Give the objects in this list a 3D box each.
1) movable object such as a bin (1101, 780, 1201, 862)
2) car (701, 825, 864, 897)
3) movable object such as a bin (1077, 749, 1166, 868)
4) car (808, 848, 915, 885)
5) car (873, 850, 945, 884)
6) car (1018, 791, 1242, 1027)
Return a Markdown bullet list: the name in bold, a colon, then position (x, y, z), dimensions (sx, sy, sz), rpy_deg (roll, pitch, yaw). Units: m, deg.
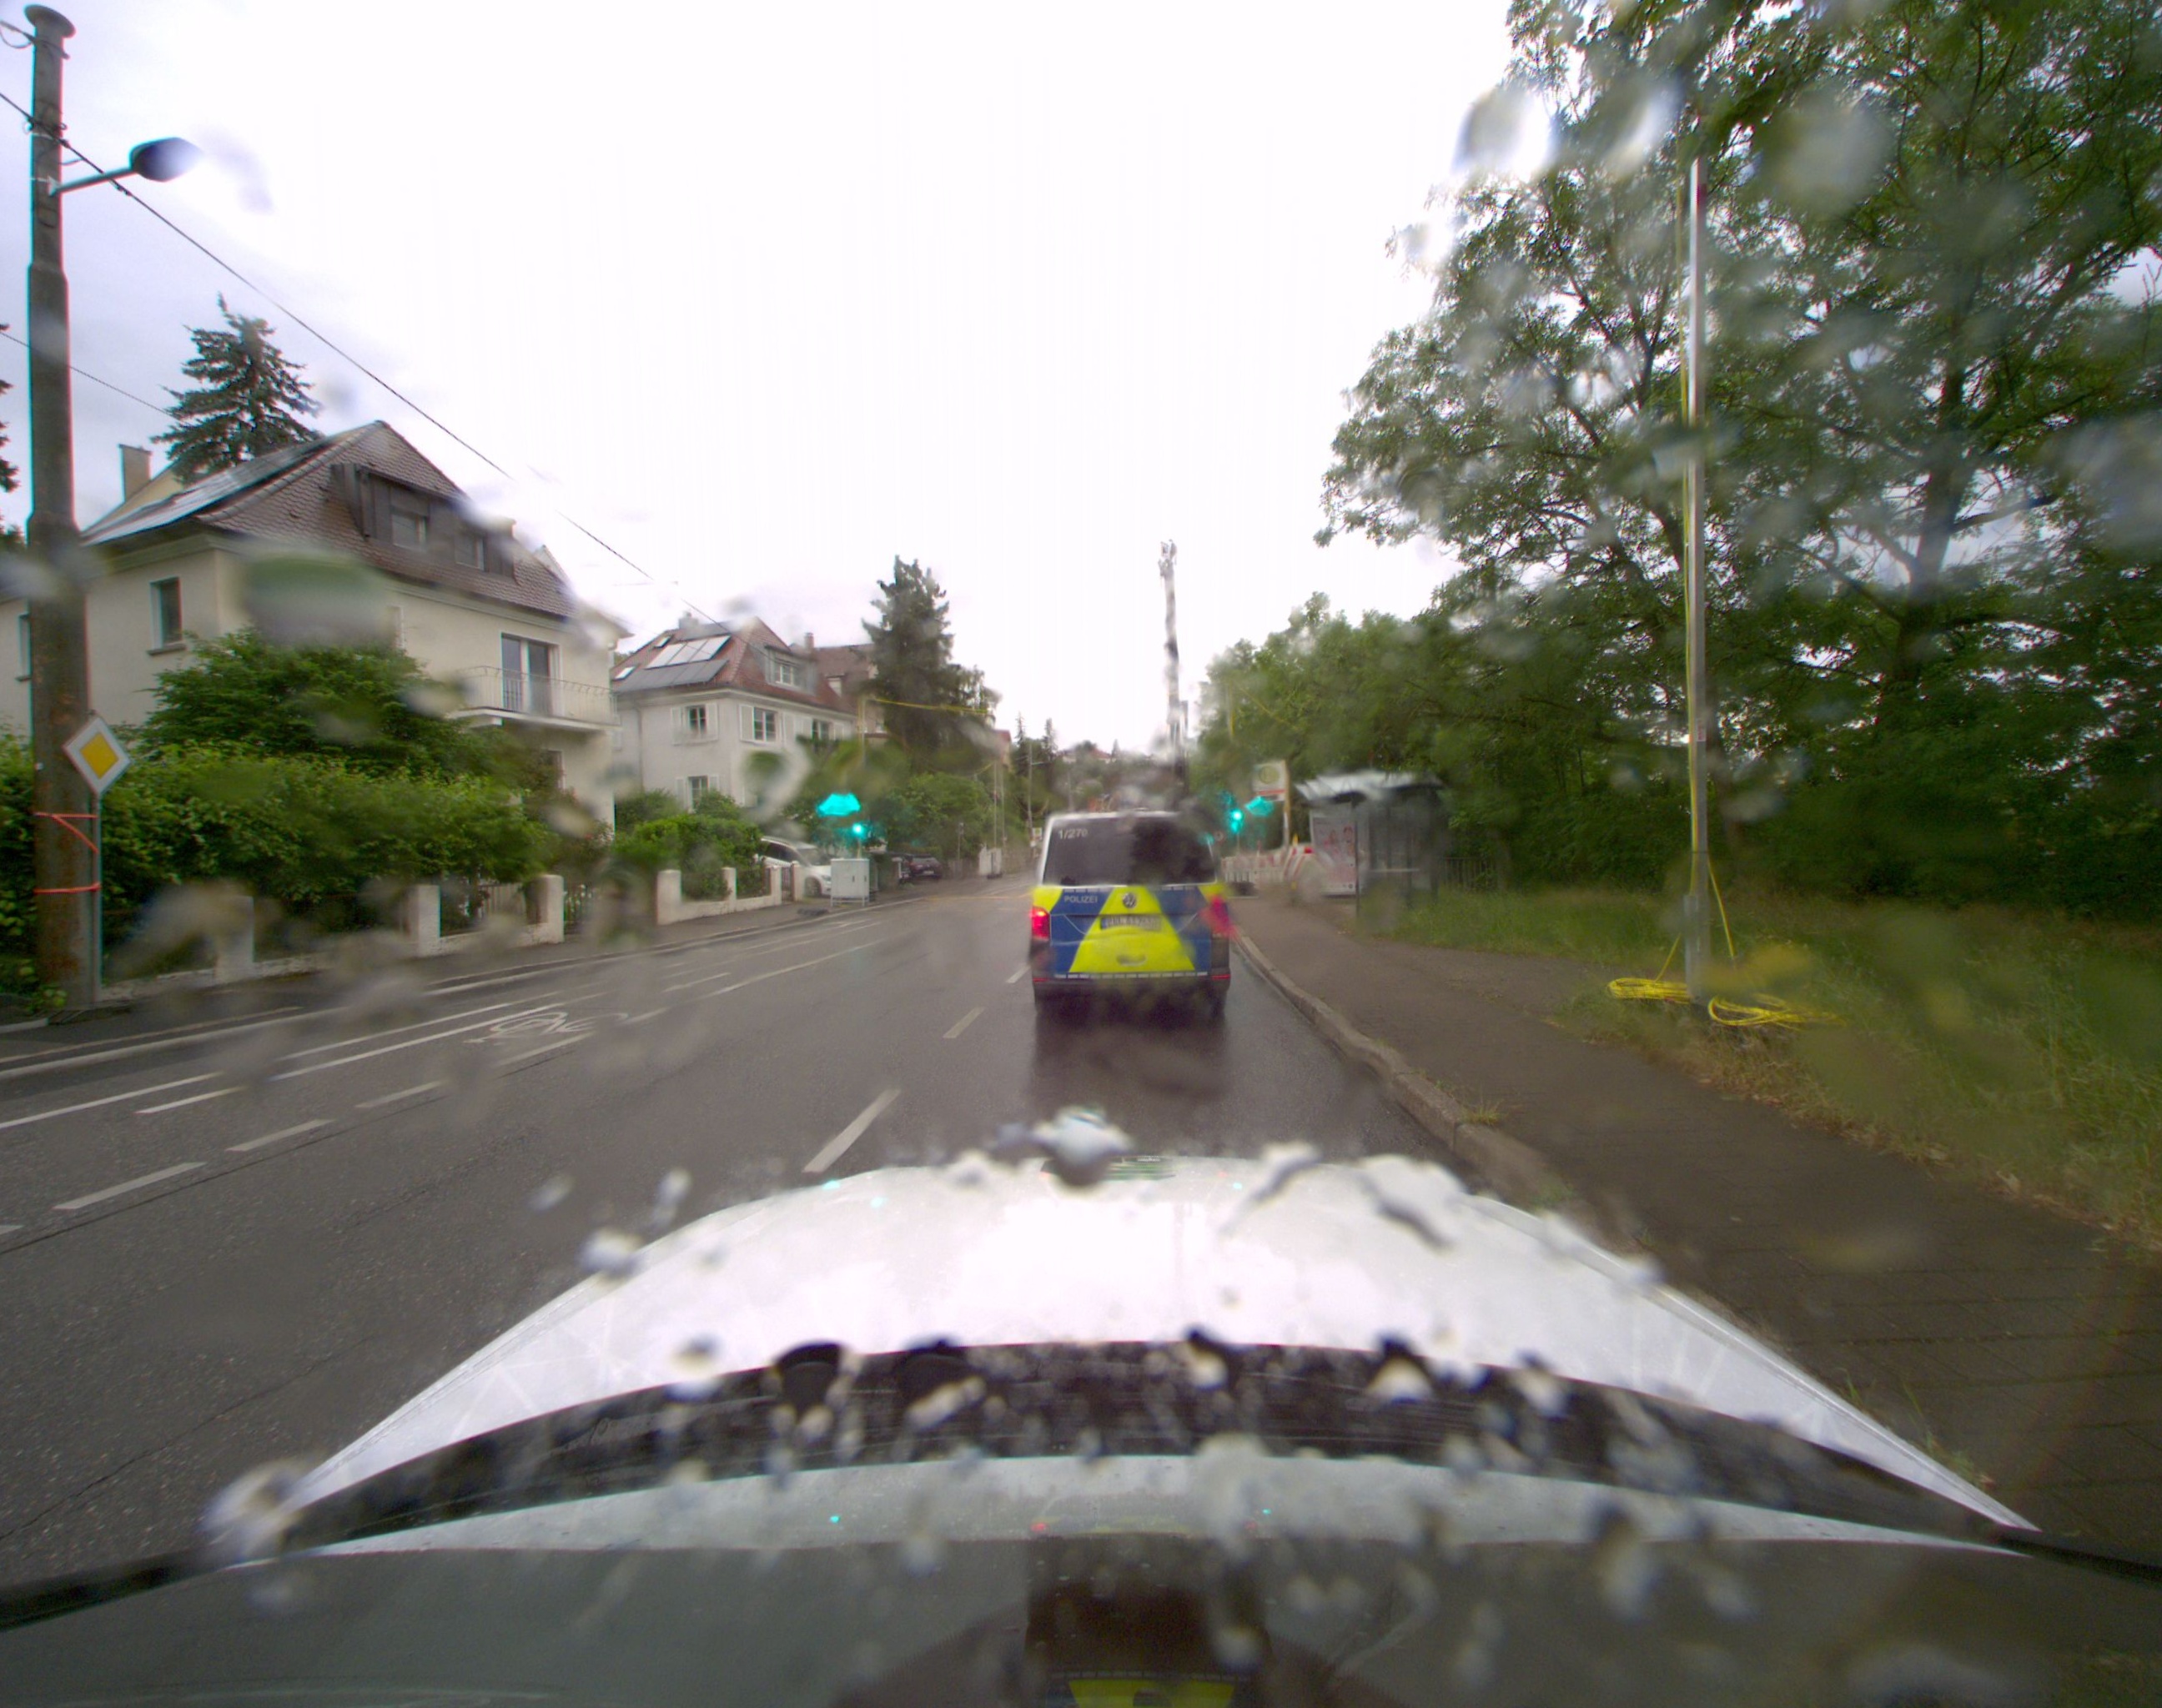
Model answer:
- **movable object such as a bin**: position (4.920, -2.144, 55.910), dimensions (3.646, 5.066, 7.209), rpy_deg (-3, -1, 34)
- **car**: position (-10.220, 0.191, 27.948), dimensions (4.927, 1.616, 1.872), rpy_deg (9, 4, 15)
- **movable object such as a bin**: position (1.691, -1.688, 31.811), dimensions (2.862, 4.170, 4.499), rpy_deg (-2, 1, 9)
- **car**: position (-9.440, 0.547, 35.125), dimensions (3.958, 1.525, 1.948), rpy_deg (-1, -1, 15)
- **car**: position (-8.095, 0.580, 38.007), dimensions (1.795, 1.525, 3.955), rpy_deg (0, 0, -37)
- **car**: position (0.487, 0.488, 9.184), dimensions (1.901, 2.010, 4.441), rpy_deg (0, -1, 2)
